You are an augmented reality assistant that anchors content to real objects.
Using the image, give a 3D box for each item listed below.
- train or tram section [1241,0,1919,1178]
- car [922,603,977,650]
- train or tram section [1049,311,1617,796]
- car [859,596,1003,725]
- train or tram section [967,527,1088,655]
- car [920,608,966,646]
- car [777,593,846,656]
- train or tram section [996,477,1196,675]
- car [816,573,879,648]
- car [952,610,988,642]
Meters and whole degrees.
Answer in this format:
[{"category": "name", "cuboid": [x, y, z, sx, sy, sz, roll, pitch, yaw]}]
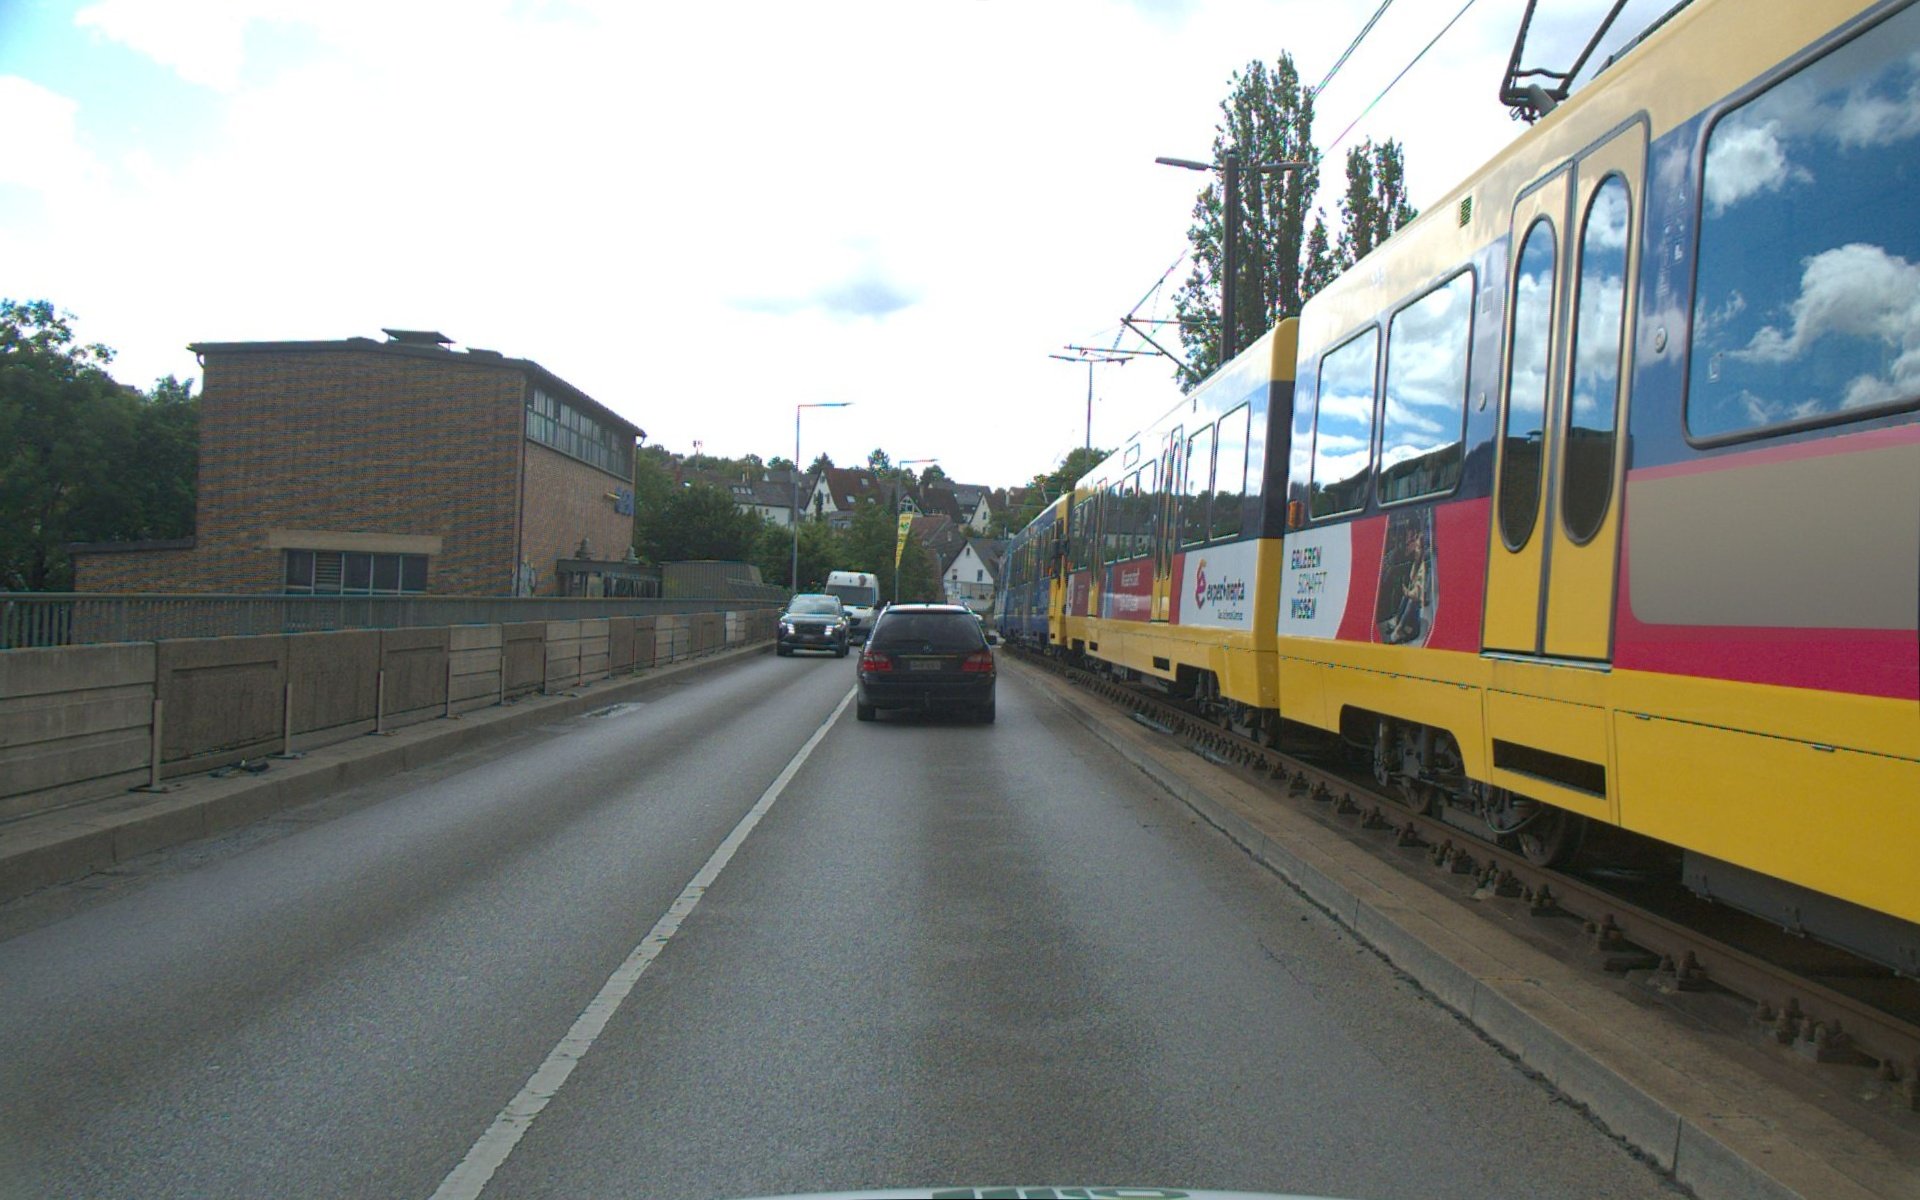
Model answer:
[{"category": "train or tram section", "cuboid": [3.804, -0.360, 3.191, 2.824, 3.571, 18.660, 0, 0, -2]}, {"category": "car", "cuboid": [-0.402, 0.916, 58.759, 1.735, 1.582, 4.238, 1, 0, -3]}, {"category": "train or tram section", "cuboid": [3.326, -0.374, 21.819, 2.772, 3.643, 18.660, 0, 0, -2]}, {"category": "car", "cuboid": [-0.425, 0.746, 22.144, 1.723, 1.542, 4.440, 0, 0, -2]}, {"category": "train or tram section", "cuboid": [2.142, -0.200, 61.014, 2.737, 3.830, 19.882, 2, -1, -2]}, {"category": "car", "cuboid": [-0.704, 1.175, 72.305, 1.755, 1.583, 4.386, 1, 0, 2]}, {"category": "car", "cuboid": [-4.073, 0.642, 45.940, 1.681, 1.674, 3.999, 0, 0, -2]}, {"category": "train or tram section", "cuboid": [2.786, -0.375, 41.095, 2.728, 3.720, 19.884, 0, 0, -2]}, {"category": "car", "cuboid": [-4.101, 0.331, 61.215, 1.992, 2.606, 7.005, 1, 0, -1]}, {"category": "car", "cuboid": [0.548, 1.380, 87.618, 1.734, 1.582, 4.241, 2, -1, 1]}]
